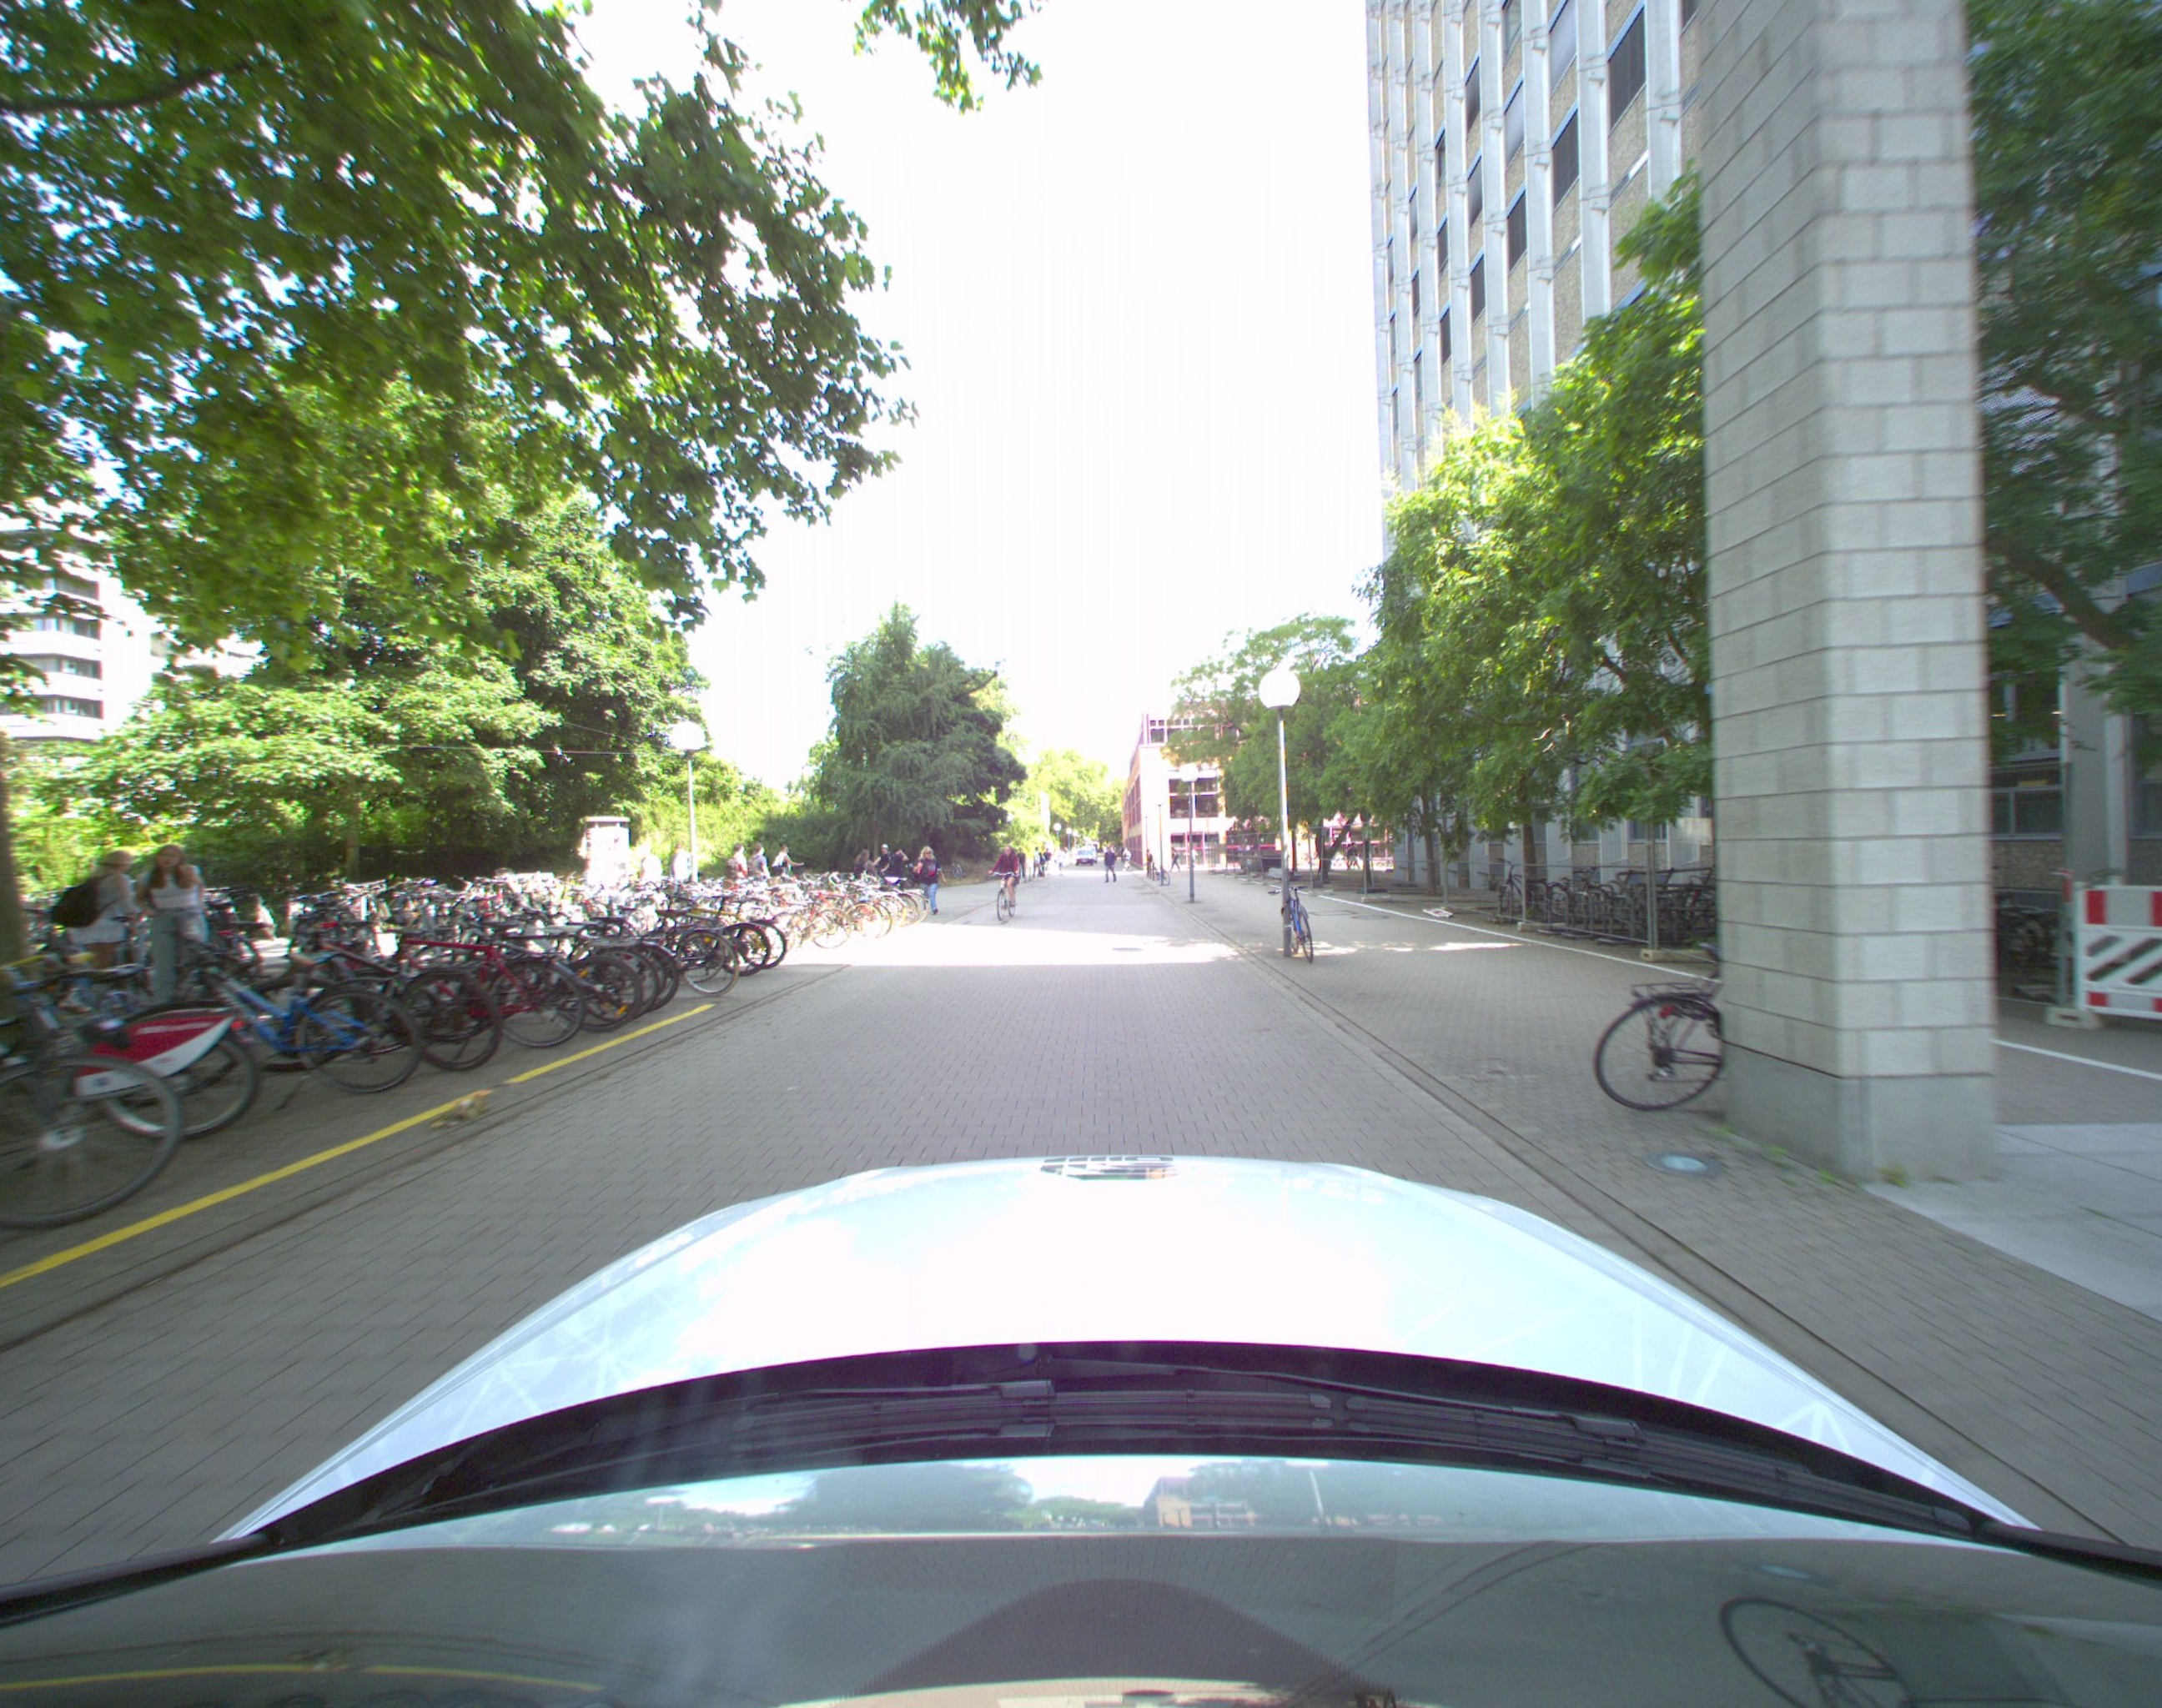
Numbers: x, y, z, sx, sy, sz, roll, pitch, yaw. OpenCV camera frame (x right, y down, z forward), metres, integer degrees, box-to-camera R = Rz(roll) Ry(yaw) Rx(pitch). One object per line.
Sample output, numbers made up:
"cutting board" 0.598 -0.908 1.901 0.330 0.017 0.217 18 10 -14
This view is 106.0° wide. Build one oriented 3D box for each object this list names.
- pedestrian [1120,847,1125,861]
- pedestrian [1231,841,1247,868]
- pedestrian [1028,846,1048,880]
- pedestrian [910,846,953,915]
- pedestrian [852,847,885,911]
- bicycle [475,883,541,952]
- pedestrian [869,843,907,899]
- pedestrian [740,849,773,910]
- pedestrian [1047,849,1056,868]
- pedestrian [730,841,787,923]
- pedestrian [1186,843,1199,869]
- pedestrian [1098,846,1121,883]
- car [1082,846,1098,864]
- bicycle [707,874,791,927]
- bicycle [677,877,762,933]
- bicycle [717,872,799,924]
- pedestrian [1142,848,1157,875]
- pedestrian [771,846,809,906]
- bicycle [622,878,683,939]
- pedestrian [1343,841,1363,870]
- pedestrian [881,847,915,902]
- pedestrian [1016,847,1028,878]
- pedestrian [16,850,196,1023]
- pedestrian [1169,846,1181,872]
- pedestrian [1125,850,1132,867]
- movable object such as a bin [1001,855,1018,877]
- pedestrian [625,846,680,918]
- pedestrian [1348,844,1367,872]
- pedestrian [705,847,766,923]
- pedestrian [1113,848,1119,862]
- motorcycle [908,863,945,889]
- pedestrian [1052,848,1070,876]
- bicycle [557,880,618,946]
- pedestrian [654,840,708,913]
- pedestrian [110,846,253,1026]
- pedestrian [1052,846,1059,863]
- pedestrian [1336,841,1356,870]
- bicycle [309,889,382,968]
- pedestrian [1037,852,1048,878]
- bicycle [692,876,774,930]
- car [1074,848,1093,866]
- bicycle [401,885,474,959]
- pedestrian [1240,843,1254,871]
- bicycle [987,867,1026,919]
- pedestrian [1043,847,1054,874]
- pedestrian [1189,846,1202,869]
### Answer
"pedestrian" 4.921 0.015 96.902 0.584 1.672 0.818 -3 -1 3
"pedestrian" 10.587 0.037 54.666 0.894 1.728 0.688 -3 -3 20
"pedestrian" -2.378 0.510 45.366 0.786 1.845 1.109 0 0 -23
"pedestrian" -3.790 0.649 20.587 0.772 1.679 0.899 -2 1 -28
"pedestrian" -5.831 0.662 22.382 0.682 1.724 0.731 0 0 -1
"bicycle" -9.818 1.059 13.932 1.678 1.083 0.477 -1 0 39
"pedestrian" -6.401 0.549 26.975 0.606 1.835 1.056 -2 0 34
"pedestrian" -9.349 0.722 23.468 0.689 1.724 0.723 -2 1 -35
"pedestrian" -2.493 0.377 68.193 0.681 1.620 0.913 -1 -1 -3
"pedestrian" -7.544 0.639 19.054 0.677 1.835 0.947 -2 1 35
"pedestrian" 7.998 0.122 58.560 0.823 1.844 0.684 -1 -1 -1
"pedestrian" 1.462 0.541 42.235 0.878 1.857 1.038 -1 0 21
"car" 1.103 0.085 97.185 1.877 1.974 5.216 -1 0 1
"bicycle" -7.126 0.989 17.463 1.705 1.083 0.476 -1 0 15
"bicycle" -7.277 1.019 16.383 1.680 1.083 0.476 -1 0 20
"bicycle" -7.133 0.973 17.983 1.682 1.110 0.476 -1 0 13
"pedestrian" 4.379 0.473 51.904 0.847 1.651 0.589 -1 -1 9
"pedestrian" -8.582 0.634 24.020 0.936 1.724 0.674 -2 1 -15
"bicycle" -8.231 1.018 15.619 1.678 1.083 0.477 -1 0 43
"pedestrian" 16.285 0.087 48.812 0.900 1.728 0.684 -2 -2 -4
"pedestrian" -5.808 0.633 25.894 0.679 1.724 0.907 -1 0 14
"pedestrian" -3.580 0.513 49.370 0.681 1.873 1.120 -1 -1 -3
"pedestrian" -10.241 0.819 8.598 0.766 1.703 0.905 -1 0 -6
"pedestrian" 6.320 0.349 54.736 0.692 1.672 0.589 -3 -1 9
"pedestrian" 4.825 0.463 82.676 0.584 1.672 0.699 -3 -1 3
"movable object such as a bin" -4.426 0.753 50.309 0.704 1.336 1.243 1 0 11
"pedestrian" -11.048 0.702 21.033 0.762 1.804 0.987 -1 0 11
"pedestrian" 17.307 0.249 50.950 0.900 1.728 0.684 -2 -2 -4
"pedestrian" -8.248 0.715 19.466 0.710 1.724 1.071 -2 1 34
"pedestrian" 4.143 0.150 95.903 0.584 1.672 0.818 -3 -1 3
"motorcycle" -6.705 0.938 35.240 2.001 1.047 0.477 1 1 44
"pedestrian" -1.322 0.524 54.499 0.717 1.881 1.089 -1 -1 26
"bicycle" -8.891 1.030 14.641 1.678 1.083 0.477 -1 0 43
"pedestrian" -10.240 0.564 20.864 0.826 1.815 0.885 -1 0 12
"pedestrian" -9.150 0.781 8.293 0.895 1.703 0.775 -1 0 30
"pedestrian" -2.731 0.059 88.192 0.680 1.844 0.783 -1 -1 1
"pedestrian" 16.155 0.097 49.646 0.900 1.728 0.684 -2 -2 -4
"bicycle" -11.168 1.094 12.353 1.677 1.083 0.477 -1 0 36
"pedestrian" -2.409 0.677 50.848 0.569 1.611 0.915 -1 -1 -11
"bicycle" -7.209 1.002 16.876 1.680 1.083 0.476 -1 0 20
"car" 0.266 0.293 84.004 1.784 1.761 4.483 -2 0 1
"bicycle" -10.338 1.063 13.067 1.677 1.083 0.477 -1 0 36
"pedestrian" 10.849 0.176 53.241 0.762 1.794 0.589 -3 -1 9
"bicycle" -1.740 0.895 19.375 0.769 1.150 2.107 -1 -1 -1
"pedestrian" -2.291 0.452 56.740 0.680 1.844 0.783 -1 -1 1
"pedestrian" 8.123 0.221 57.847 0.778 1.620 0.684 -1 -1 -1
